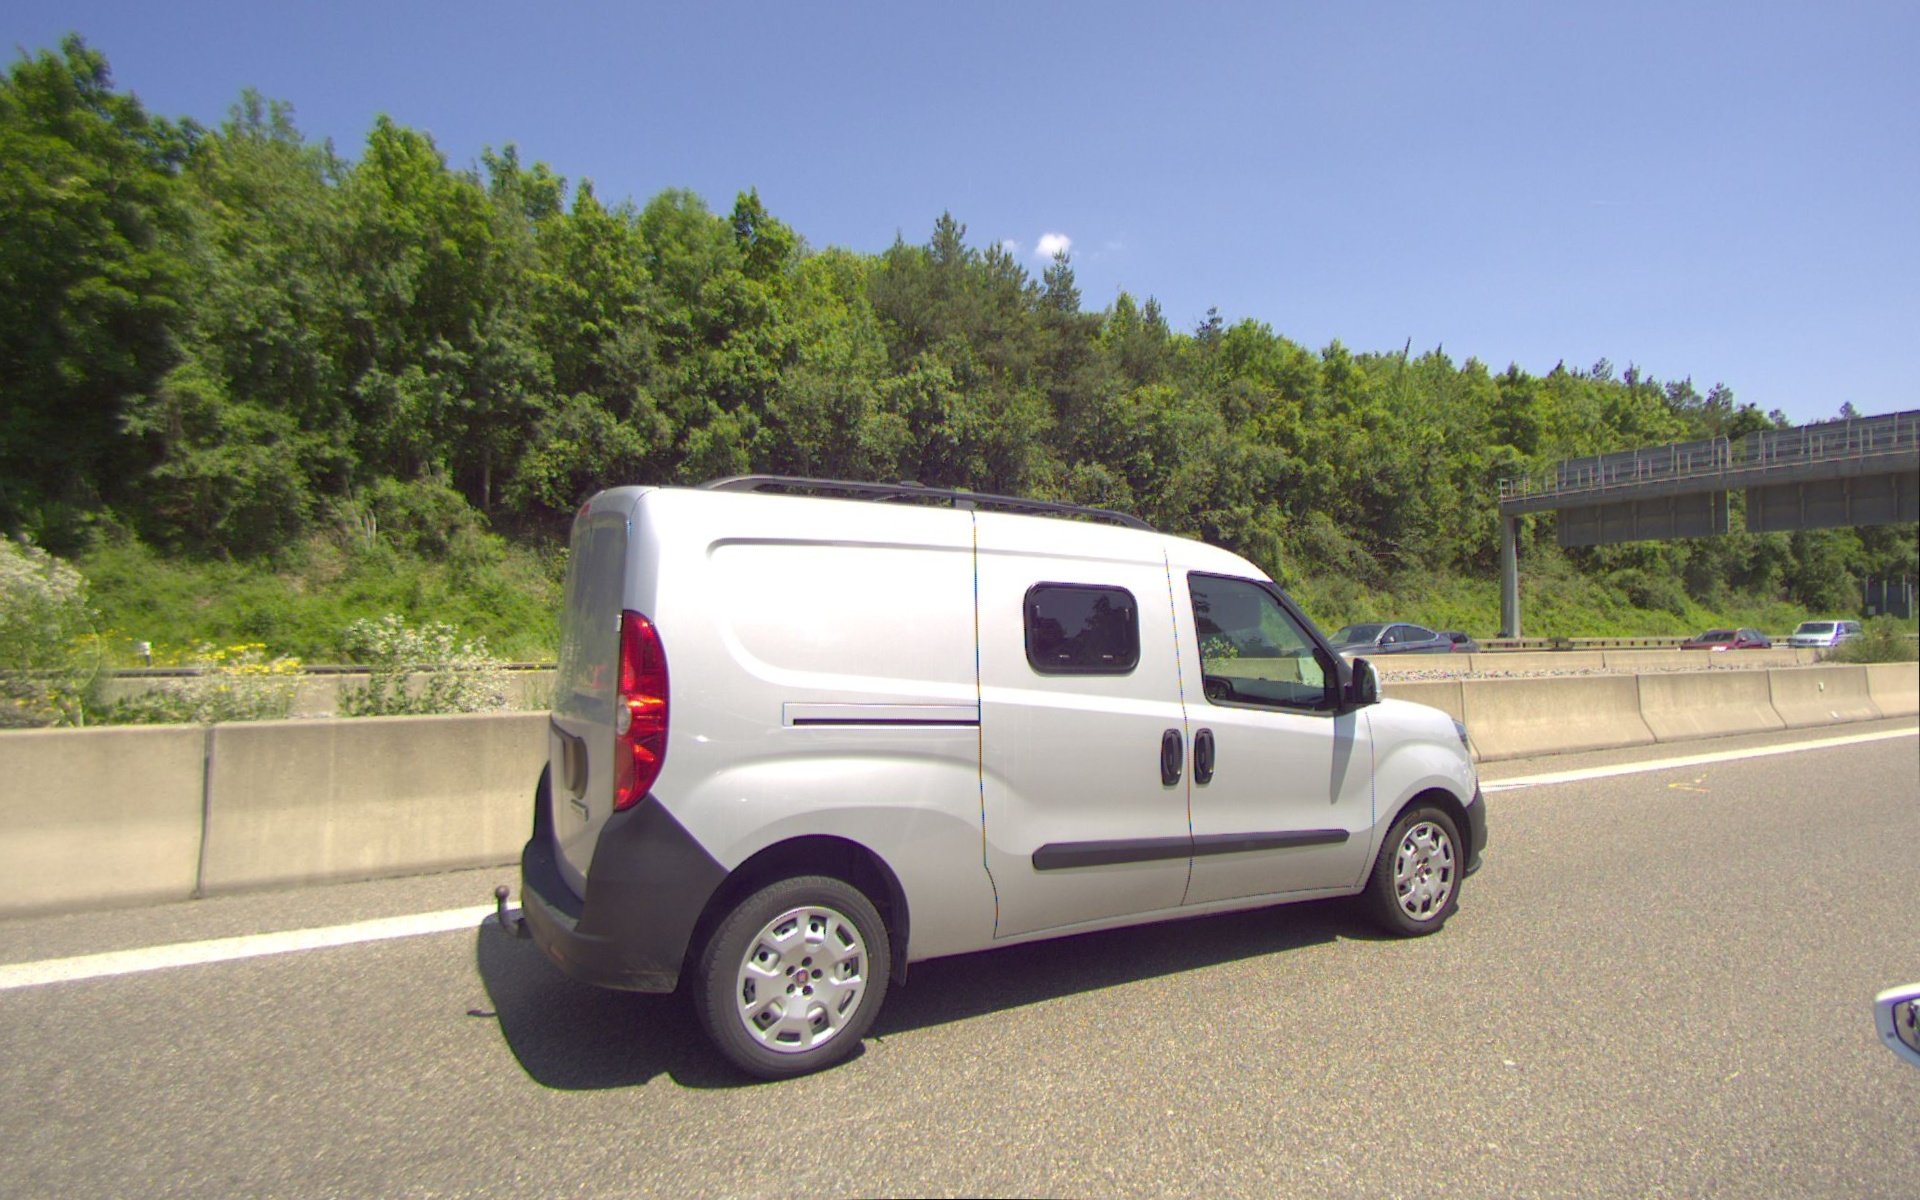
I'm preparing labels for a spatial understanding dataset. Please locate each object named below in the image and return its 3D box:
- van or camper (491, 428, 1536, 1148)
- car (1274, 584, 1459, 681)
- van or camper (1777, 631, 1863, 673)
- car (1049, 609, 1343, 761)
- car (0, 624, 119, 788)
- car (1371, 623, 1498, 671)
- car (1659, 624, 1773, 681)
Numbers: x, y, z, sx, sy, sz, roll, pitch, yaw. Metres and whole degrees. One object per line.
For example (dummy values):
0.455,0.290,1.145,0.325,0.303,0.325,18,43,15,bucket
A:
0.411,0.521,4.593,4.507,1.905,1.844,1,0,-30,van or camper
9.349,0.732,23.064,3.954,2.040,1.983,1,-1,-31,car
44.836,2.738,52.335,4.625,2.040,1.984,2,-1,-30,van or camper
3.472,1.163,14.641,3.954,1.906,1.897,2,-1,-31,car
-13.758,1.343,13.090,3.955,2.040,1.983,2,-1,-32,car
16.039,1.583,33.925,3.953,1.466,1.984,2,-1,-30,car
29.060,2.027,38.610,4.232,2.040,1.984,2,-1,-30,car
